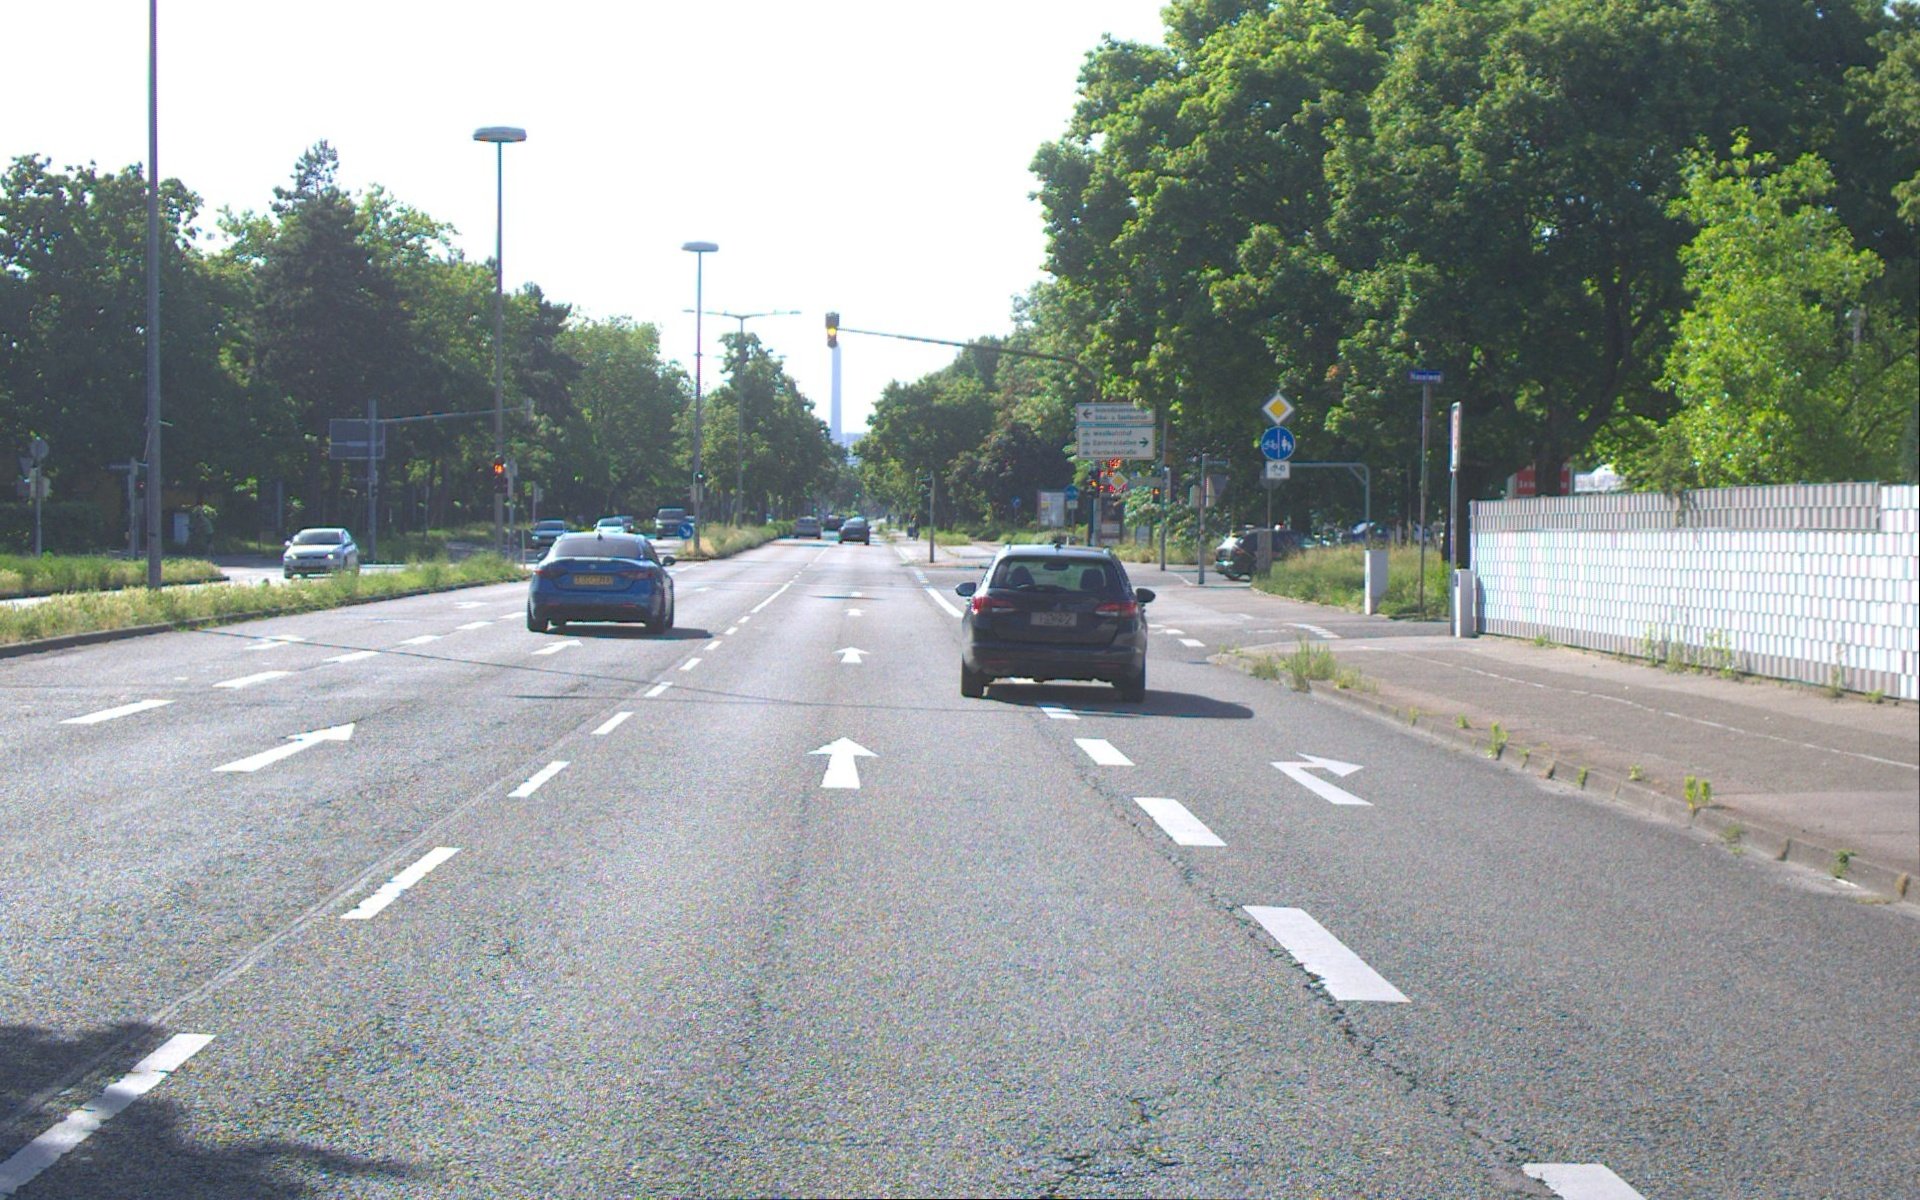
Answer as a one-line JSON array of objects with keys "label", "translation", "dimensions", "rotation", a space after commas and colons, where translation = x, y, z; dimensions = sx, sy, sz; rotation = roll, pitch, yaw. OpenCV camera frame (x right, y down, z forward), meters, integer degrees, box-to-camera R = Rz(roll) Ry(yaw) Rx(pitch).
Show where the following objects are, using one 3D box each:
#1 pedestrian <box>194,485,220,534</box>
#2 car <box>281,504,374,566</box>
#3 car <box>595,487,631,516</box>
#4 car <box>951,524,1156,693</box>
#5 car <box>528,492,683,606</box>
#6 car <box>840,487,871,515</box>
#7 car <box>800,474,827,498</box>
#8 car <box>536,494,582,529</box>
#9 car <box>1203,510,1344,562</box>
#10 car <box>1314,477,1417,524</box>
[{"label": "pedestrian", "translation": [-28.688, -3.448, 131.002], "dimensions": [0.846, 1.828, 0.550], "rotation": [1, 5, 2]}, {"label": "car", "translation": [-18.601, -1.913, 101.273], "dimensions": [1.912, 1.697, 4.408], "rotation": [3, 1, -1]}, {"label": "car", "translation": [-21.647, -6.137, 214.322], "dimensions": [1.864, 1.678, 4.001], "rotation": [2, 1, -1]}, {"label": "car", "translation": [0.857, 0.035, 33.616], "dimensions": [1.755, 1.504, 3.809], "rotation": [2, 1, -2]}, {"label": "car", "translation": [-5.014, -0.747, 49.112], "dimensions": [1.888, 1.546, 4.001], "rotation": [1, 1, -2]}, {"label": "car", "translation": [-6.279, -5.975, 206.965], "dimensions": [1.732, 1.579, 3.841], "rotation": [3, 1, -1]}, {"label": "car", "translation": [-10.071, -7.845, 236.369], "dimensions": [1.824, 1.609, 3.841], "rotation": [0, 2, -3]}, {"label": "car", "translation": [-20.512, -4.519, 175.890], "dimensions": [1.864, 1.678, 4.261], "rotation": [3, 1, -1]}, {"label": "car", "translation": [9.479, -1.932, 103.961], "dimensions": [3.826, 1.454, 1.739], "rotation": [1, 2, -20]}, {"label": "car", "translation": [16.394, -4.017, 139.019], "dimensions": [3.711, 1.679, 1.705], "rotation": [2, 1, -27]}]
